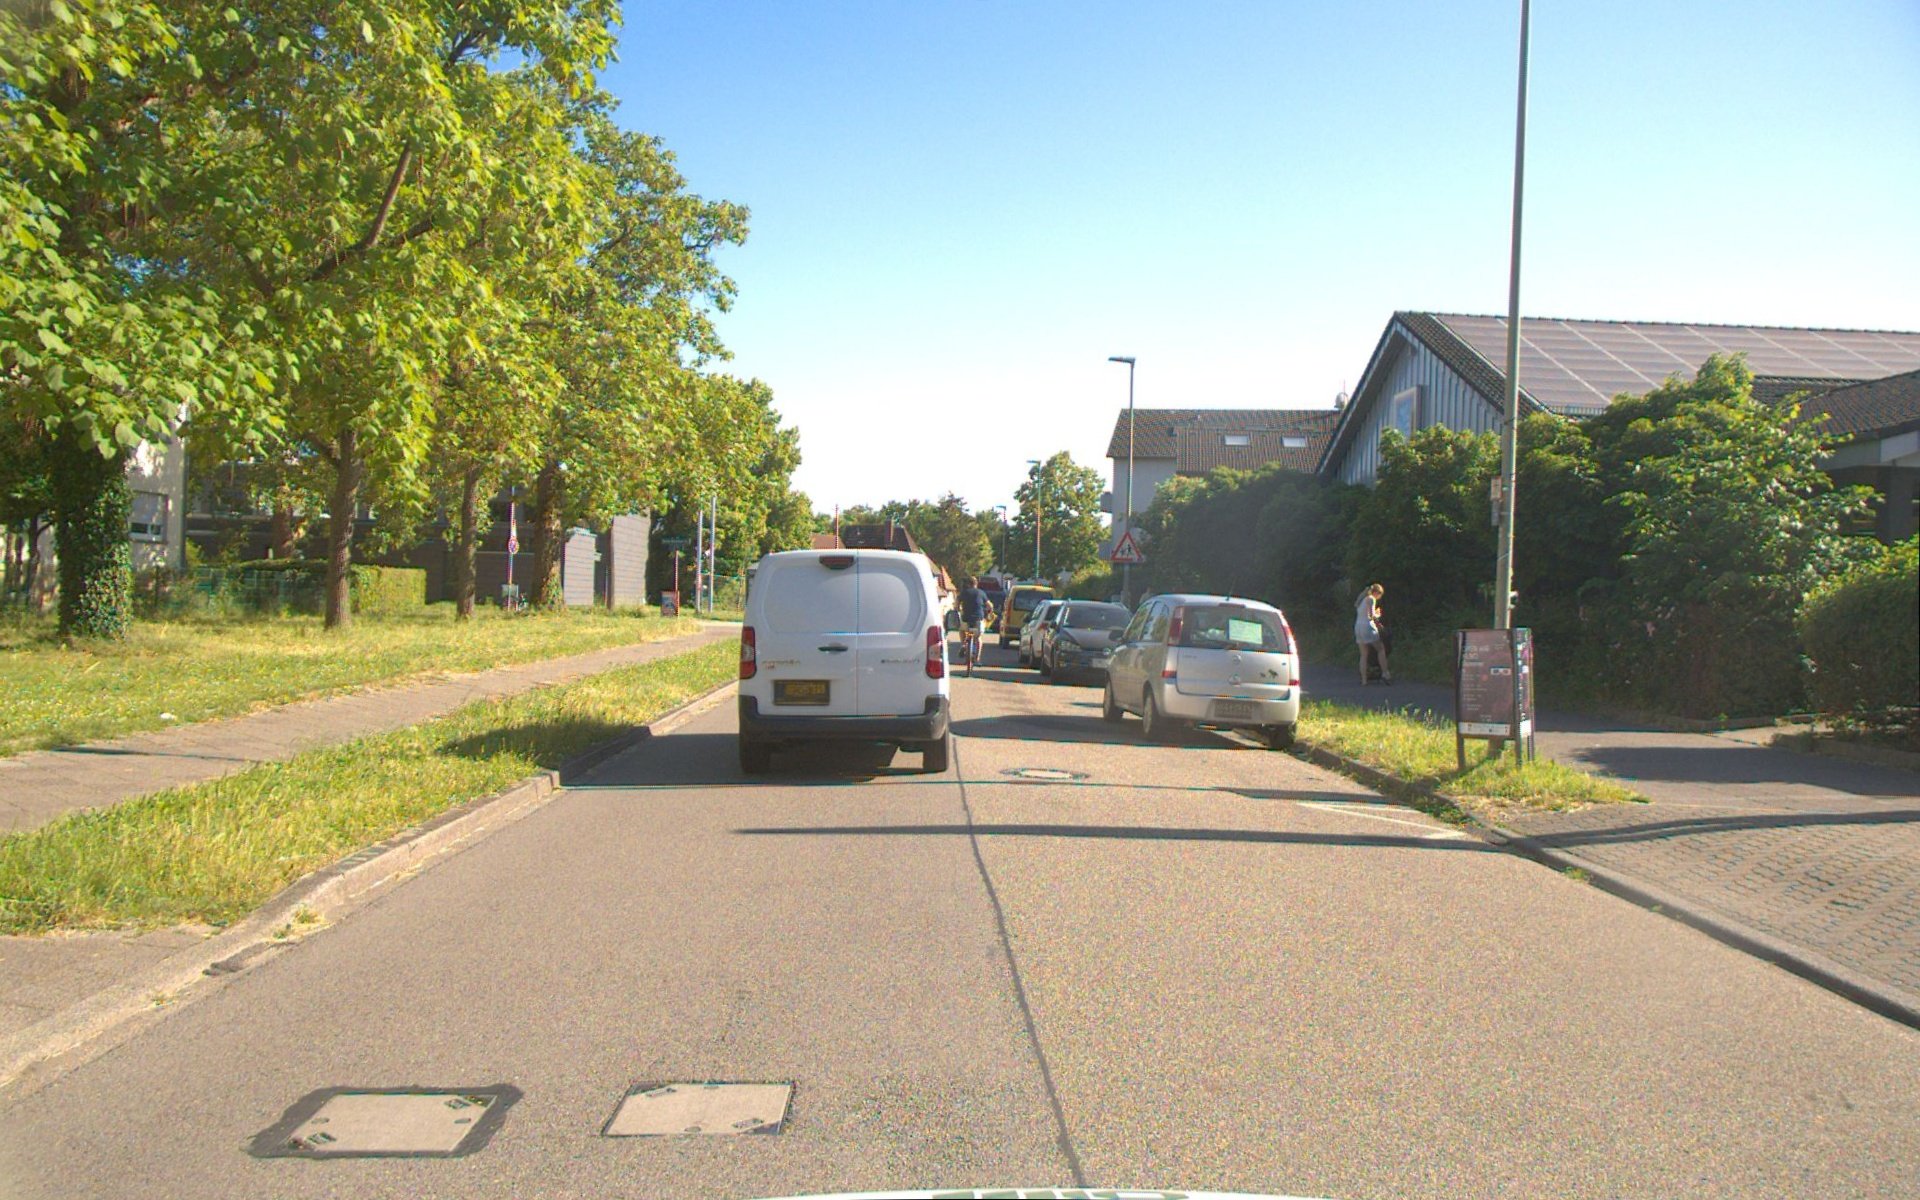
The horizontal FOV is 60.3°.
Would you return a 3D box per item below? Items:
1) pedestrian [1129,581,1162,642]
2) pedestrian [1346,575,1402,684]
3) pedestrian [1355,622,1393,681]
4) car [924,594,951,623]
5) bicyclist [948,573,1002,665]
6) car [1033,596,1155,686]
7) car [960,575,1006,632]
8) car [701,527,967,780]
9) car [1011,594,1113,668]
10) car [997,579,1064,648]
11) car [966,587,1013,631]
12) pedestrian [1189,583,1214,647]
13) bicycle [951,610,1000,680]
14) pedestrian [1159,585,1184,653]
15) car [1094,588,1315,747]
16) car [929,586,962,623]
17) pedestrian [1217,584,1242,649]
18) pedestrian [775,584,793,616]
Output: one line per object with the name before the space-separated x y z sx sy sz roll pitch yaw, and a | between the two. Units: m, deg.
pedestrian | 5.817 0.353 51.856 0.779 1.894 0.872 2 0 -9
pedestrian | 7.106 0.495 28.411 0.781 1.813 0.809 1 0 6
pedestrian | 7.320 0.899 29.239 0.521 0.997 0.811 2 0 6
car | -1.564 0.591 114.448 1.767 1.874 3.999 4 -1 -1
bicyclist | 0.272 0.348 30.130 0.887 1.612 0.966 2 -1 -2
car | 2.398 0.696 30.522 1.771 1.468 4.362 2 0 -1
car | 1.129 0.206 82.141 1.829 2.607 4.764 4 -1 -3
car | -0.972 0.401 15.026 1.952 1.914 4.289 1 0 1
car | 2.202 0.654 36.727 1.790 1.477 3.998 2 0 -3
car | 2.024 0.374 48.204 1.689 1.869 3.999 2 0 -1
car | 1.289 0.427 74.901 1.768 1.816 3.997 4 -1 -3
pedestrian | 6.353 0.391 43.546 0.555 1.665 0.547 2 0 4
bicycle | 0.266 0.791 30.034 0.771 1.158 2.279 1 0 -2
pedestrian | 5.283 0.475 41.381 0.555 1.665 0.547 2 0 4
car | 2.749 0.722 19.475 1.647 1.627 4.024 2 0 -5
car | -0.904 0.319 101.196 1.768 2.105 3.997 4 -1 -3
pedestrian | 7.086 0.433 43.434 0.555 1.665 0.547 2 0 4
pedestrian | -8.037 0.004 75.485 0.500 1.471 0.637 1 0 31
